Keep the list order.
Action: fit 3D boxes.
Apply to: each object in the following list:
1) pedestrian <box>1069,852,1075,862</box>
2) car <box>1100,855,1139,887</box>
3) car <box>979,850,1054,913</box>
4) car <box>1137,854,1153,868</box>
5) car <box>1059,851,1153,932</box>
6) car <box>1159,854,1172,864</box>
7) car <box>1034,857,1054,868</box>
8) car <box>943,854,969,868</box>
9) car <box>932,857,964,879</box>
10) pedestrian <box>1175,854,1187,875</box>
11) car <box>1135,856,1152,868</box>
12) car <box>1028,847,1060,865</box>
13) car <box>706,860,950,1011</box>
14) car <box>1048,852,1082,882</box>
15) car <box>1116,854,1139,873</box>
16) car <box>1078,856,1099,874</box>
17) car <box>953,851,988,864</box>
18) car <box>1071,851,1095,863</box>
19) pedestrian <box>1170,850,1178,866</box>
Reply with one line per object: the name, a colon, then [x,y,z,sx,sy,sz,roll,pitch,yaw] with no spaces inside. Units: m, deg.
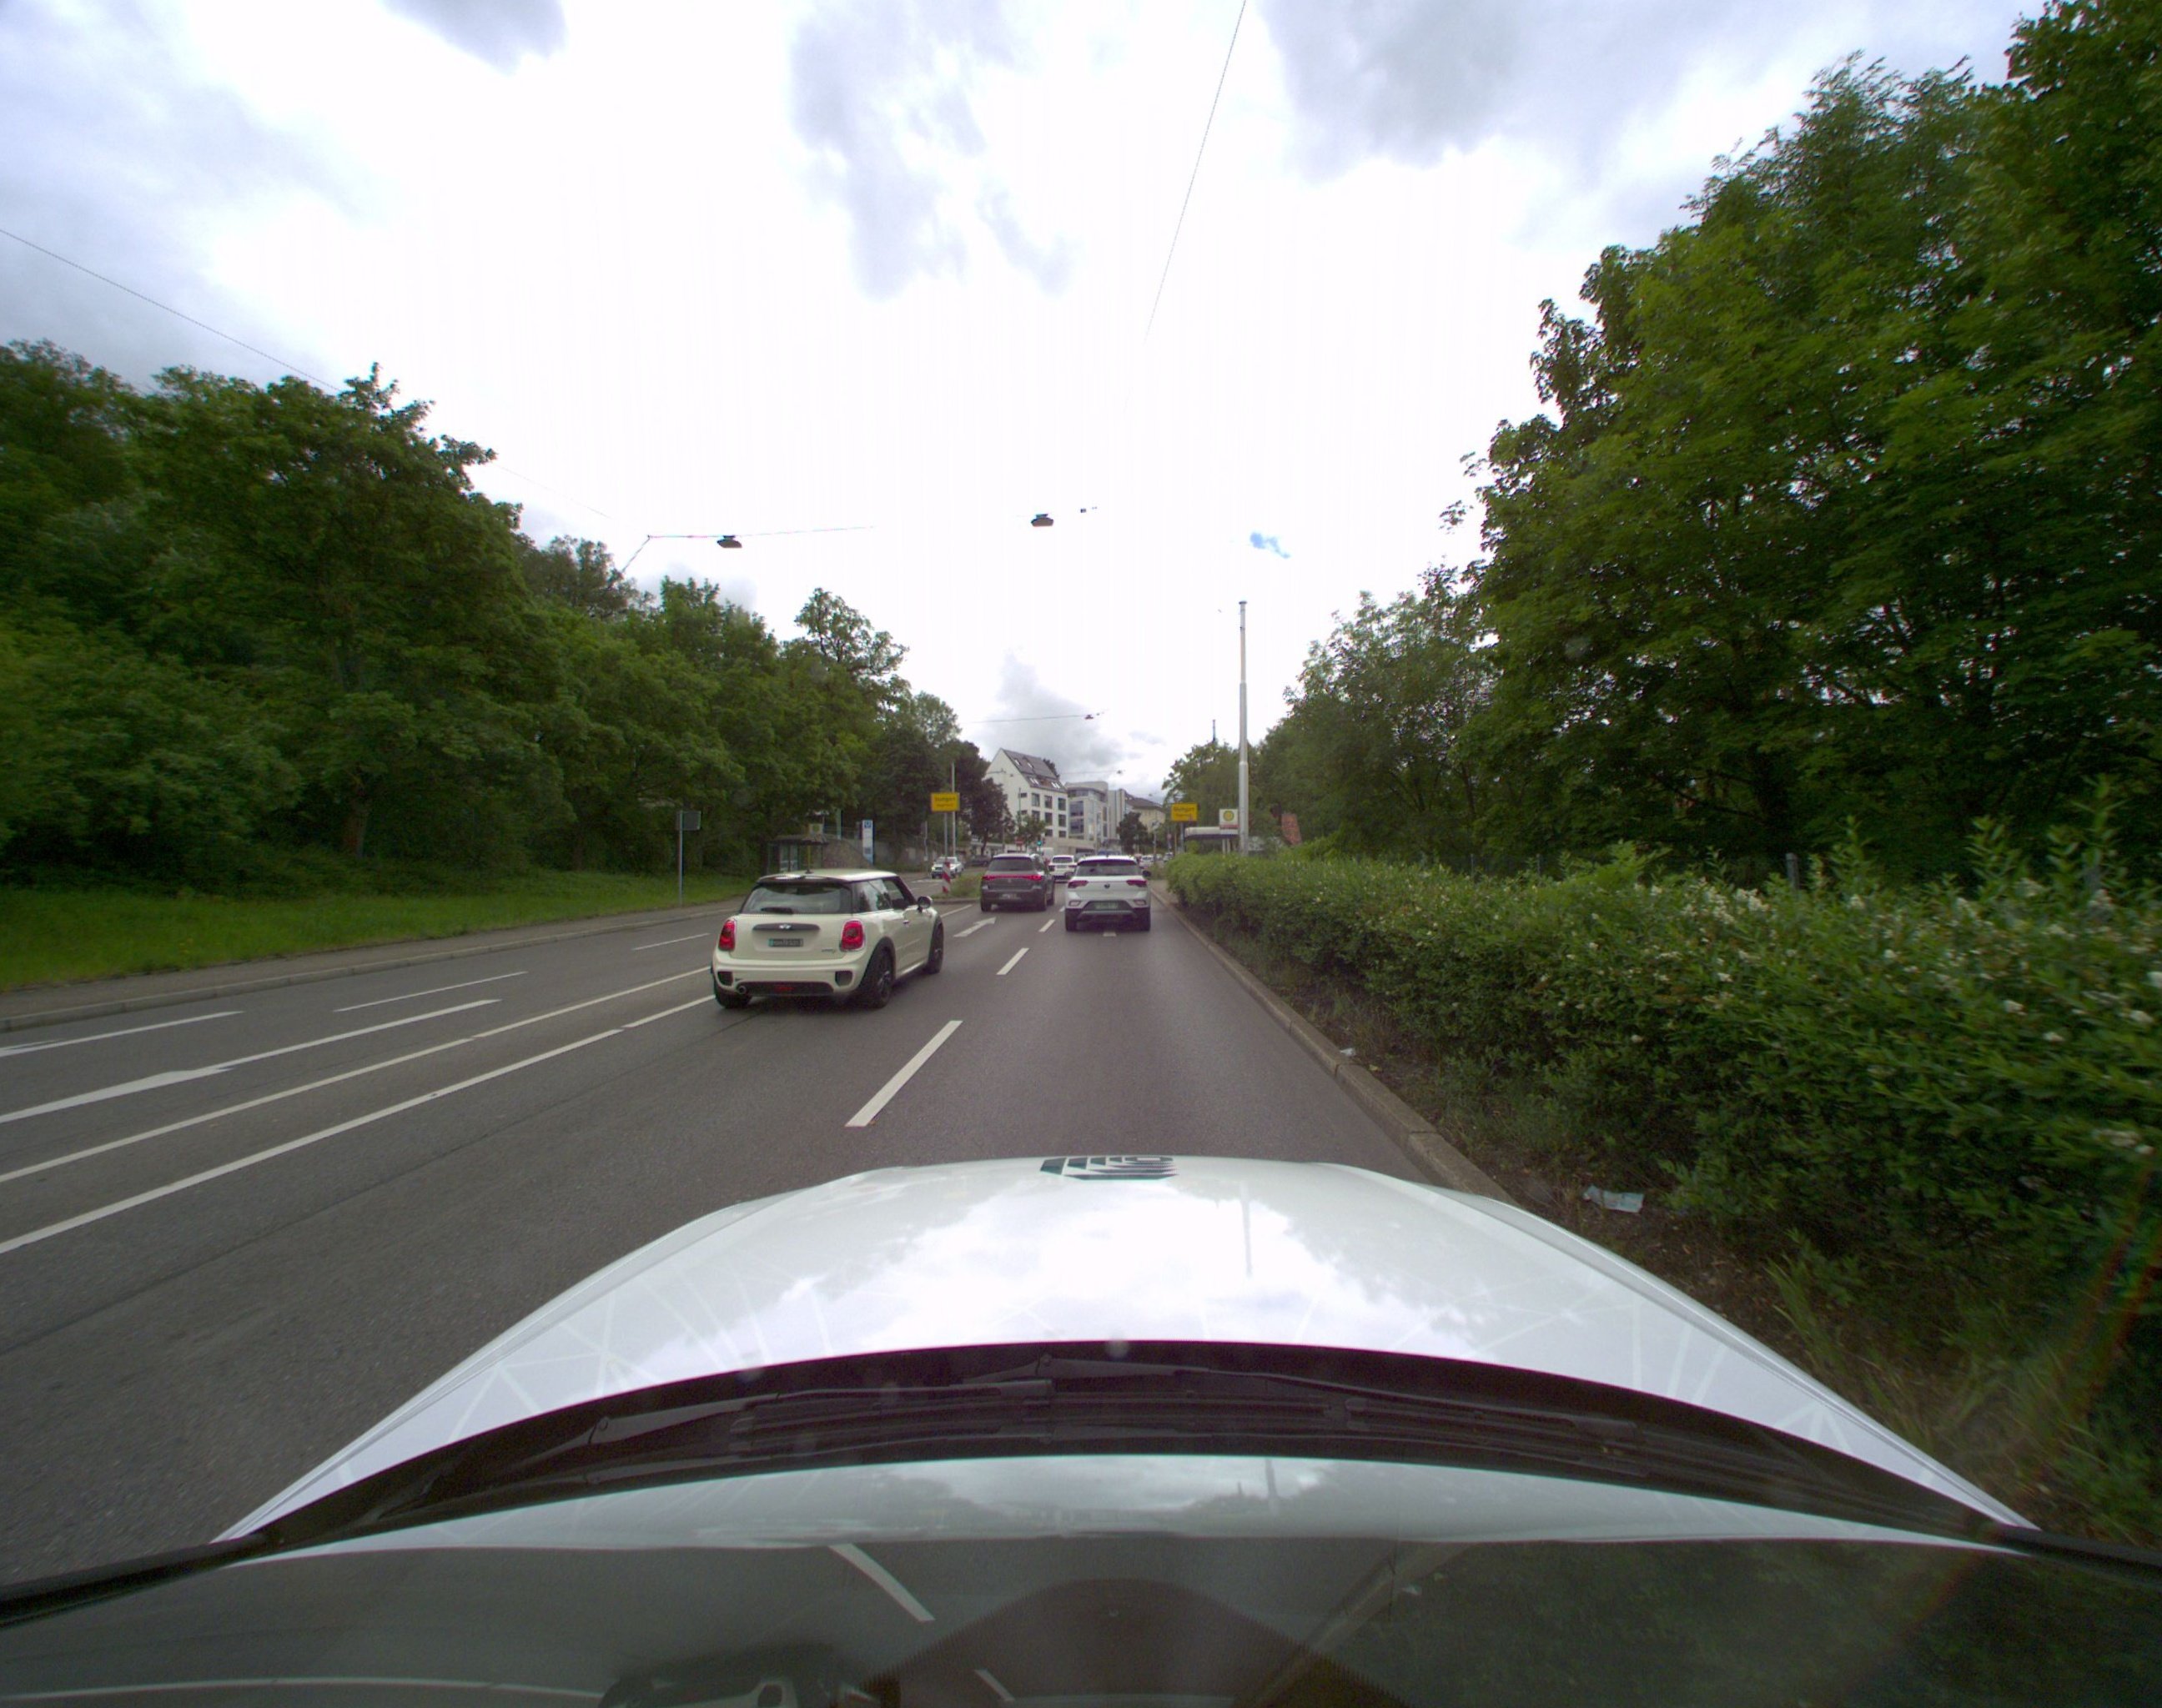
pedestrian: [-1.507,0.526,136.590,0.678,1.640,0.666,1,0,-30]
car: [1.900,0.824,41.219,1.851,1.500,4.056,-2,0,1]
car: [-1.824,0.760,24.348,1.807,1.652,4.635,-2,0,0]
car: [7.407,0.825,93.995,1.849,1.500,4.061,-2,0,5]
car: [0.532,0.744,17.931,1.805,1.539,3.690,-2,0,1]
car: [13.973,0.793,134.743,1.846,1.500,4.068,-2,0,11]
car: [-5.230,1.146,115.748,1.610,1.465,3.942,-1,0,14]
car: [-14.714,0.860,95.846,2.712,1.520,1.553,2,-2,-21]
car: [-9.770,0.977,59.983,1.724,1.541,4.041,0,0,-1]
pedestrian: [7.982,0.831,65.072,0.687,1.689,0.623,-3,-2,24]
car: [8.133,1.071,106.105,1.847,1.500,4.065,-2,0,8]
car: [-5.573,0.236,123.457,2.213,2.568,7.457,-1,0,18]
car: [-2.729,0.804,9.648,1.621,1.393,3.568,-2,0,2]
car: [-0.912,0.774,48.609,1.851,1.652,4.637,-2,0,1]
car: [4.196,0.822,72.349,1.864,1.501,4.561,2,0,5]
car: [0.708,0.981,73.989,1.851,1.500,4.056,-2,0,1]
car: [-13.614,0.470,100.497,4.116,1.540,1.594,-1,0,-8]
car: [0.361,0.444,135.909,1.965,1.967,5.247,-1,0,23]
pedestrian: [10.842,0.469,94.572,0.695,1.834,0.616,1,-1,-21]
